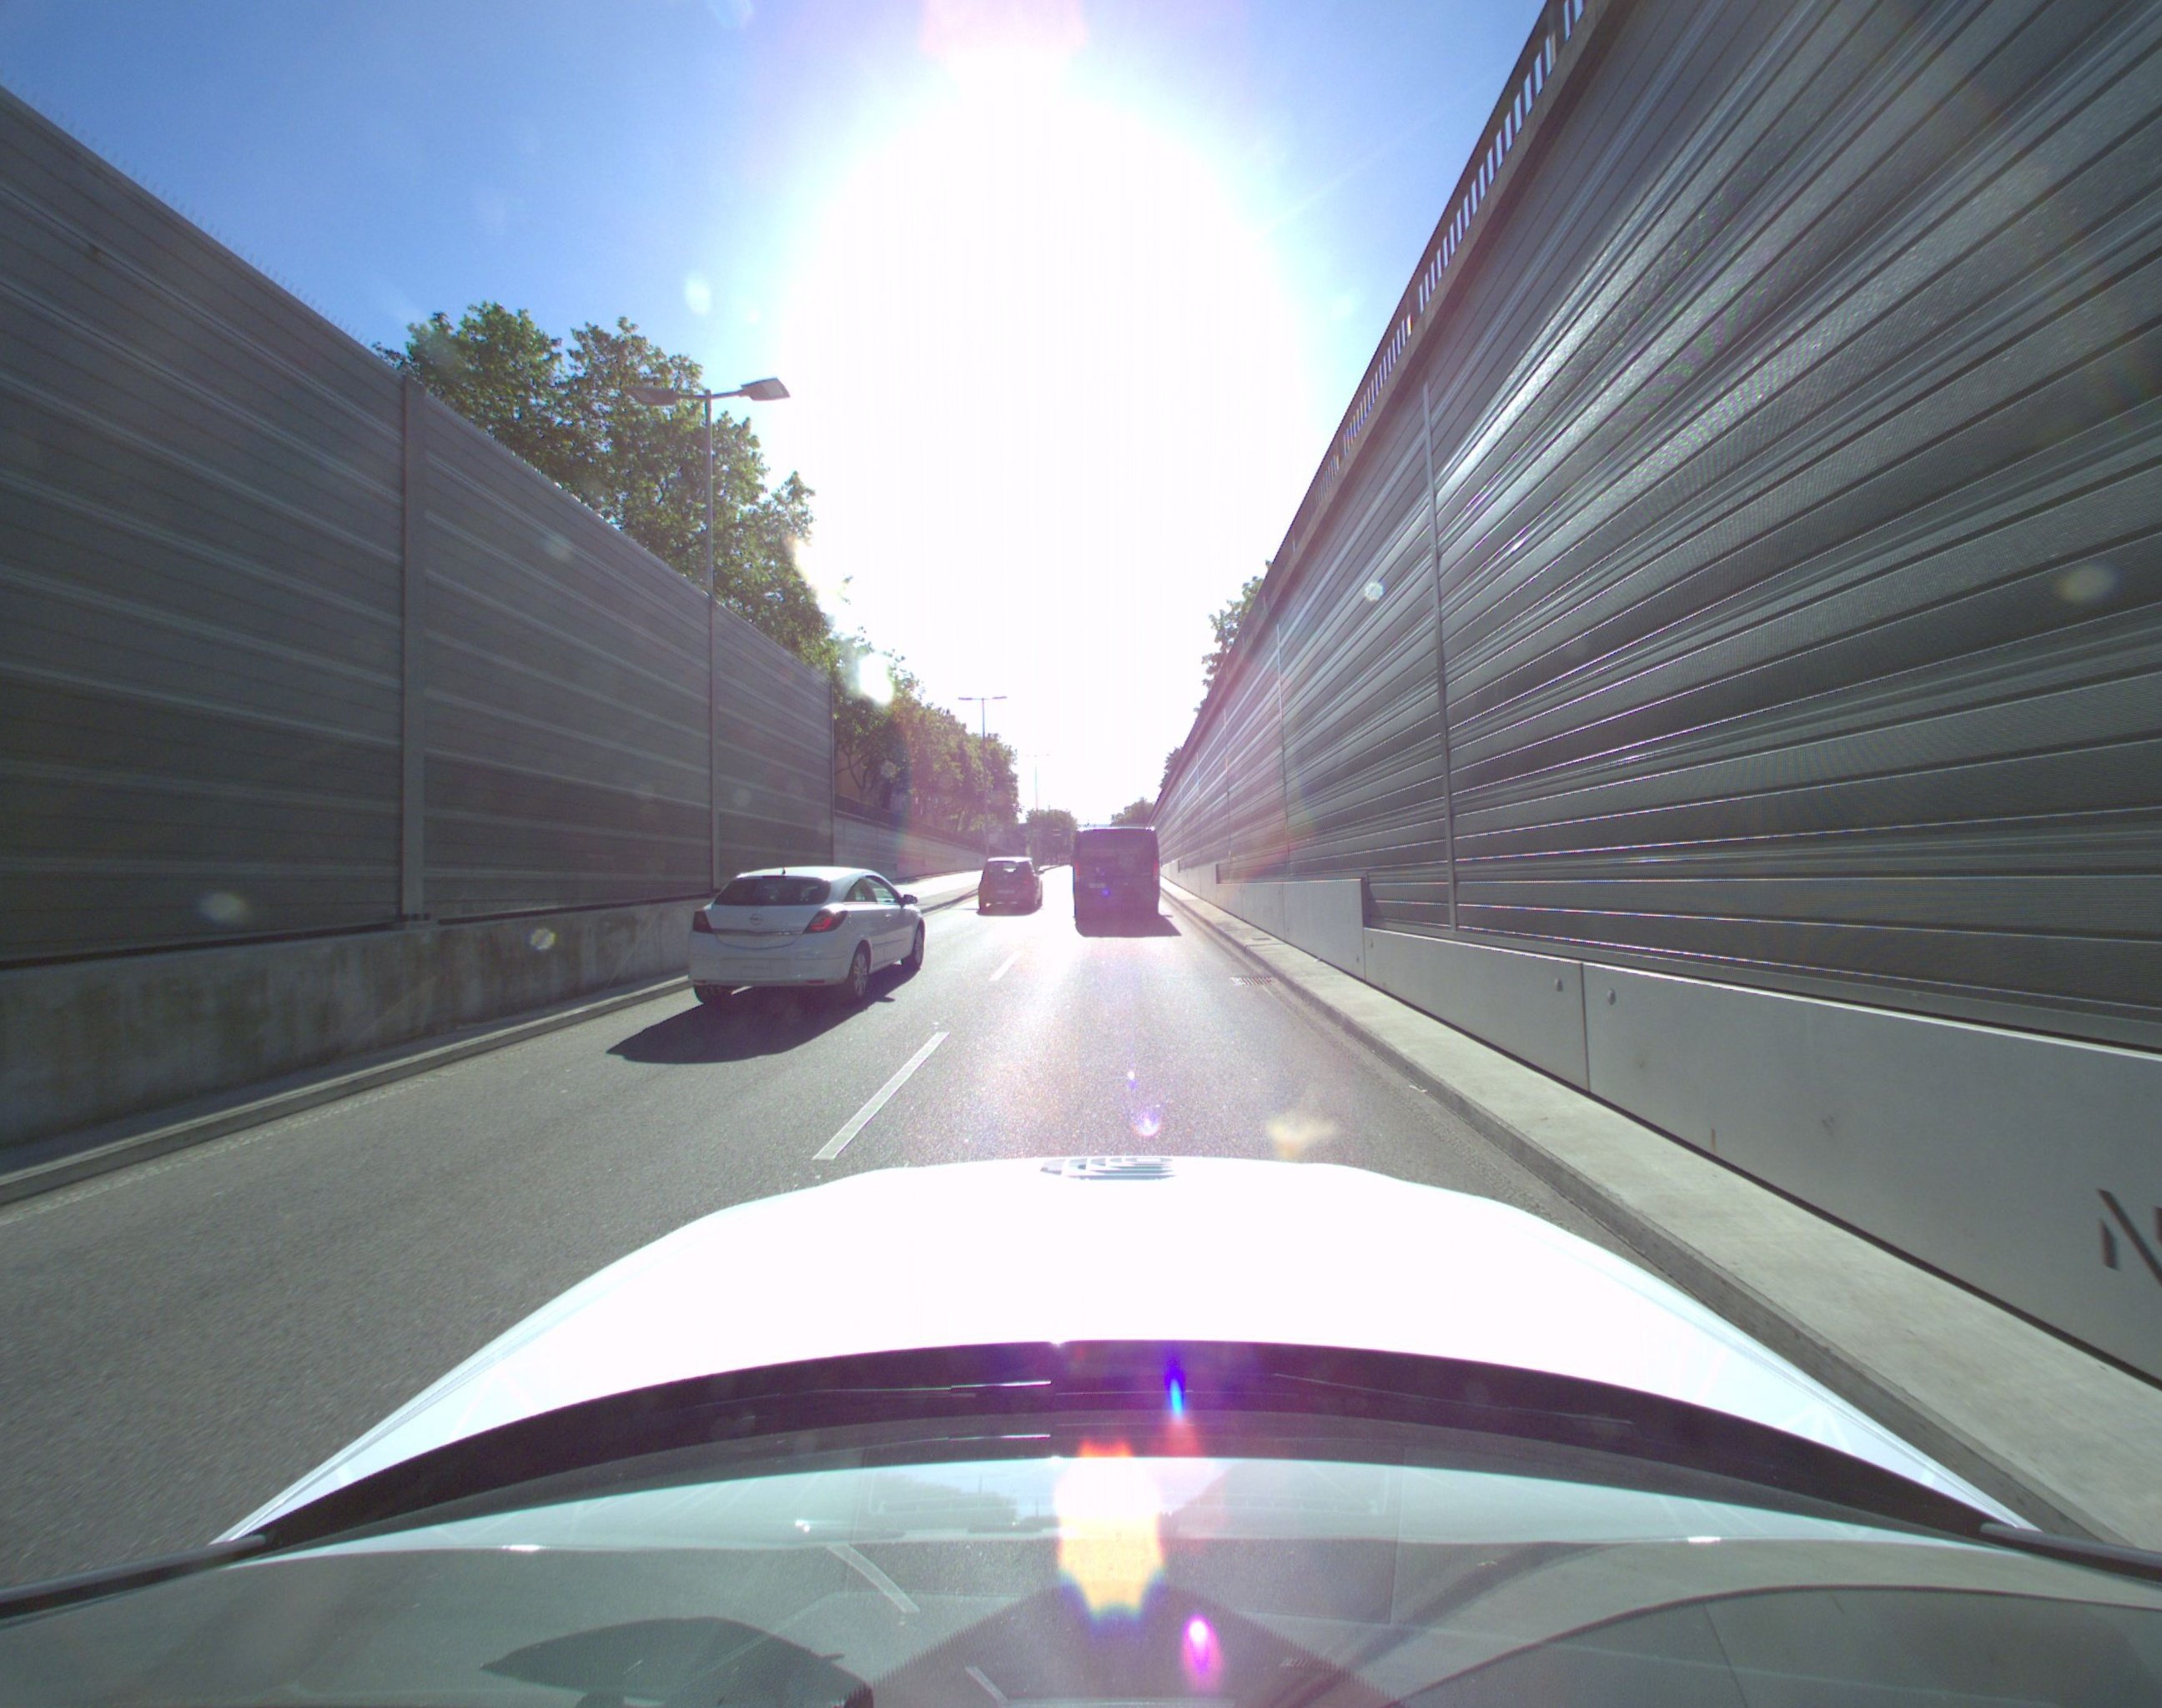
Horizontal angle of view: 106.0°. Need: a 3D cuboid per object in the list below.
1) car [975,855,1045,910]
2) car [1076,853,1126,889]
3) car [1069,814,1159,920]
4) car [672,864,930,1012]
[{"bbox_3d":[-2.026,0.794,24.140,1.682,1.483,3.320,0,0,2],"label":"car"},{"bbox_3d":[0.954,0.706,35.795,1.882,1.475,3.997,0,0,6],"label":"car"},{"bbox_3d":[0.838,0.320,20.563,2.022,2.402,3.974,-1,-1,2],"label":"car"},{"bbox_3d":[-3.035,0.830,9.713,1.613,1.403,3.853,0,-1,2],"label":"car"}]
